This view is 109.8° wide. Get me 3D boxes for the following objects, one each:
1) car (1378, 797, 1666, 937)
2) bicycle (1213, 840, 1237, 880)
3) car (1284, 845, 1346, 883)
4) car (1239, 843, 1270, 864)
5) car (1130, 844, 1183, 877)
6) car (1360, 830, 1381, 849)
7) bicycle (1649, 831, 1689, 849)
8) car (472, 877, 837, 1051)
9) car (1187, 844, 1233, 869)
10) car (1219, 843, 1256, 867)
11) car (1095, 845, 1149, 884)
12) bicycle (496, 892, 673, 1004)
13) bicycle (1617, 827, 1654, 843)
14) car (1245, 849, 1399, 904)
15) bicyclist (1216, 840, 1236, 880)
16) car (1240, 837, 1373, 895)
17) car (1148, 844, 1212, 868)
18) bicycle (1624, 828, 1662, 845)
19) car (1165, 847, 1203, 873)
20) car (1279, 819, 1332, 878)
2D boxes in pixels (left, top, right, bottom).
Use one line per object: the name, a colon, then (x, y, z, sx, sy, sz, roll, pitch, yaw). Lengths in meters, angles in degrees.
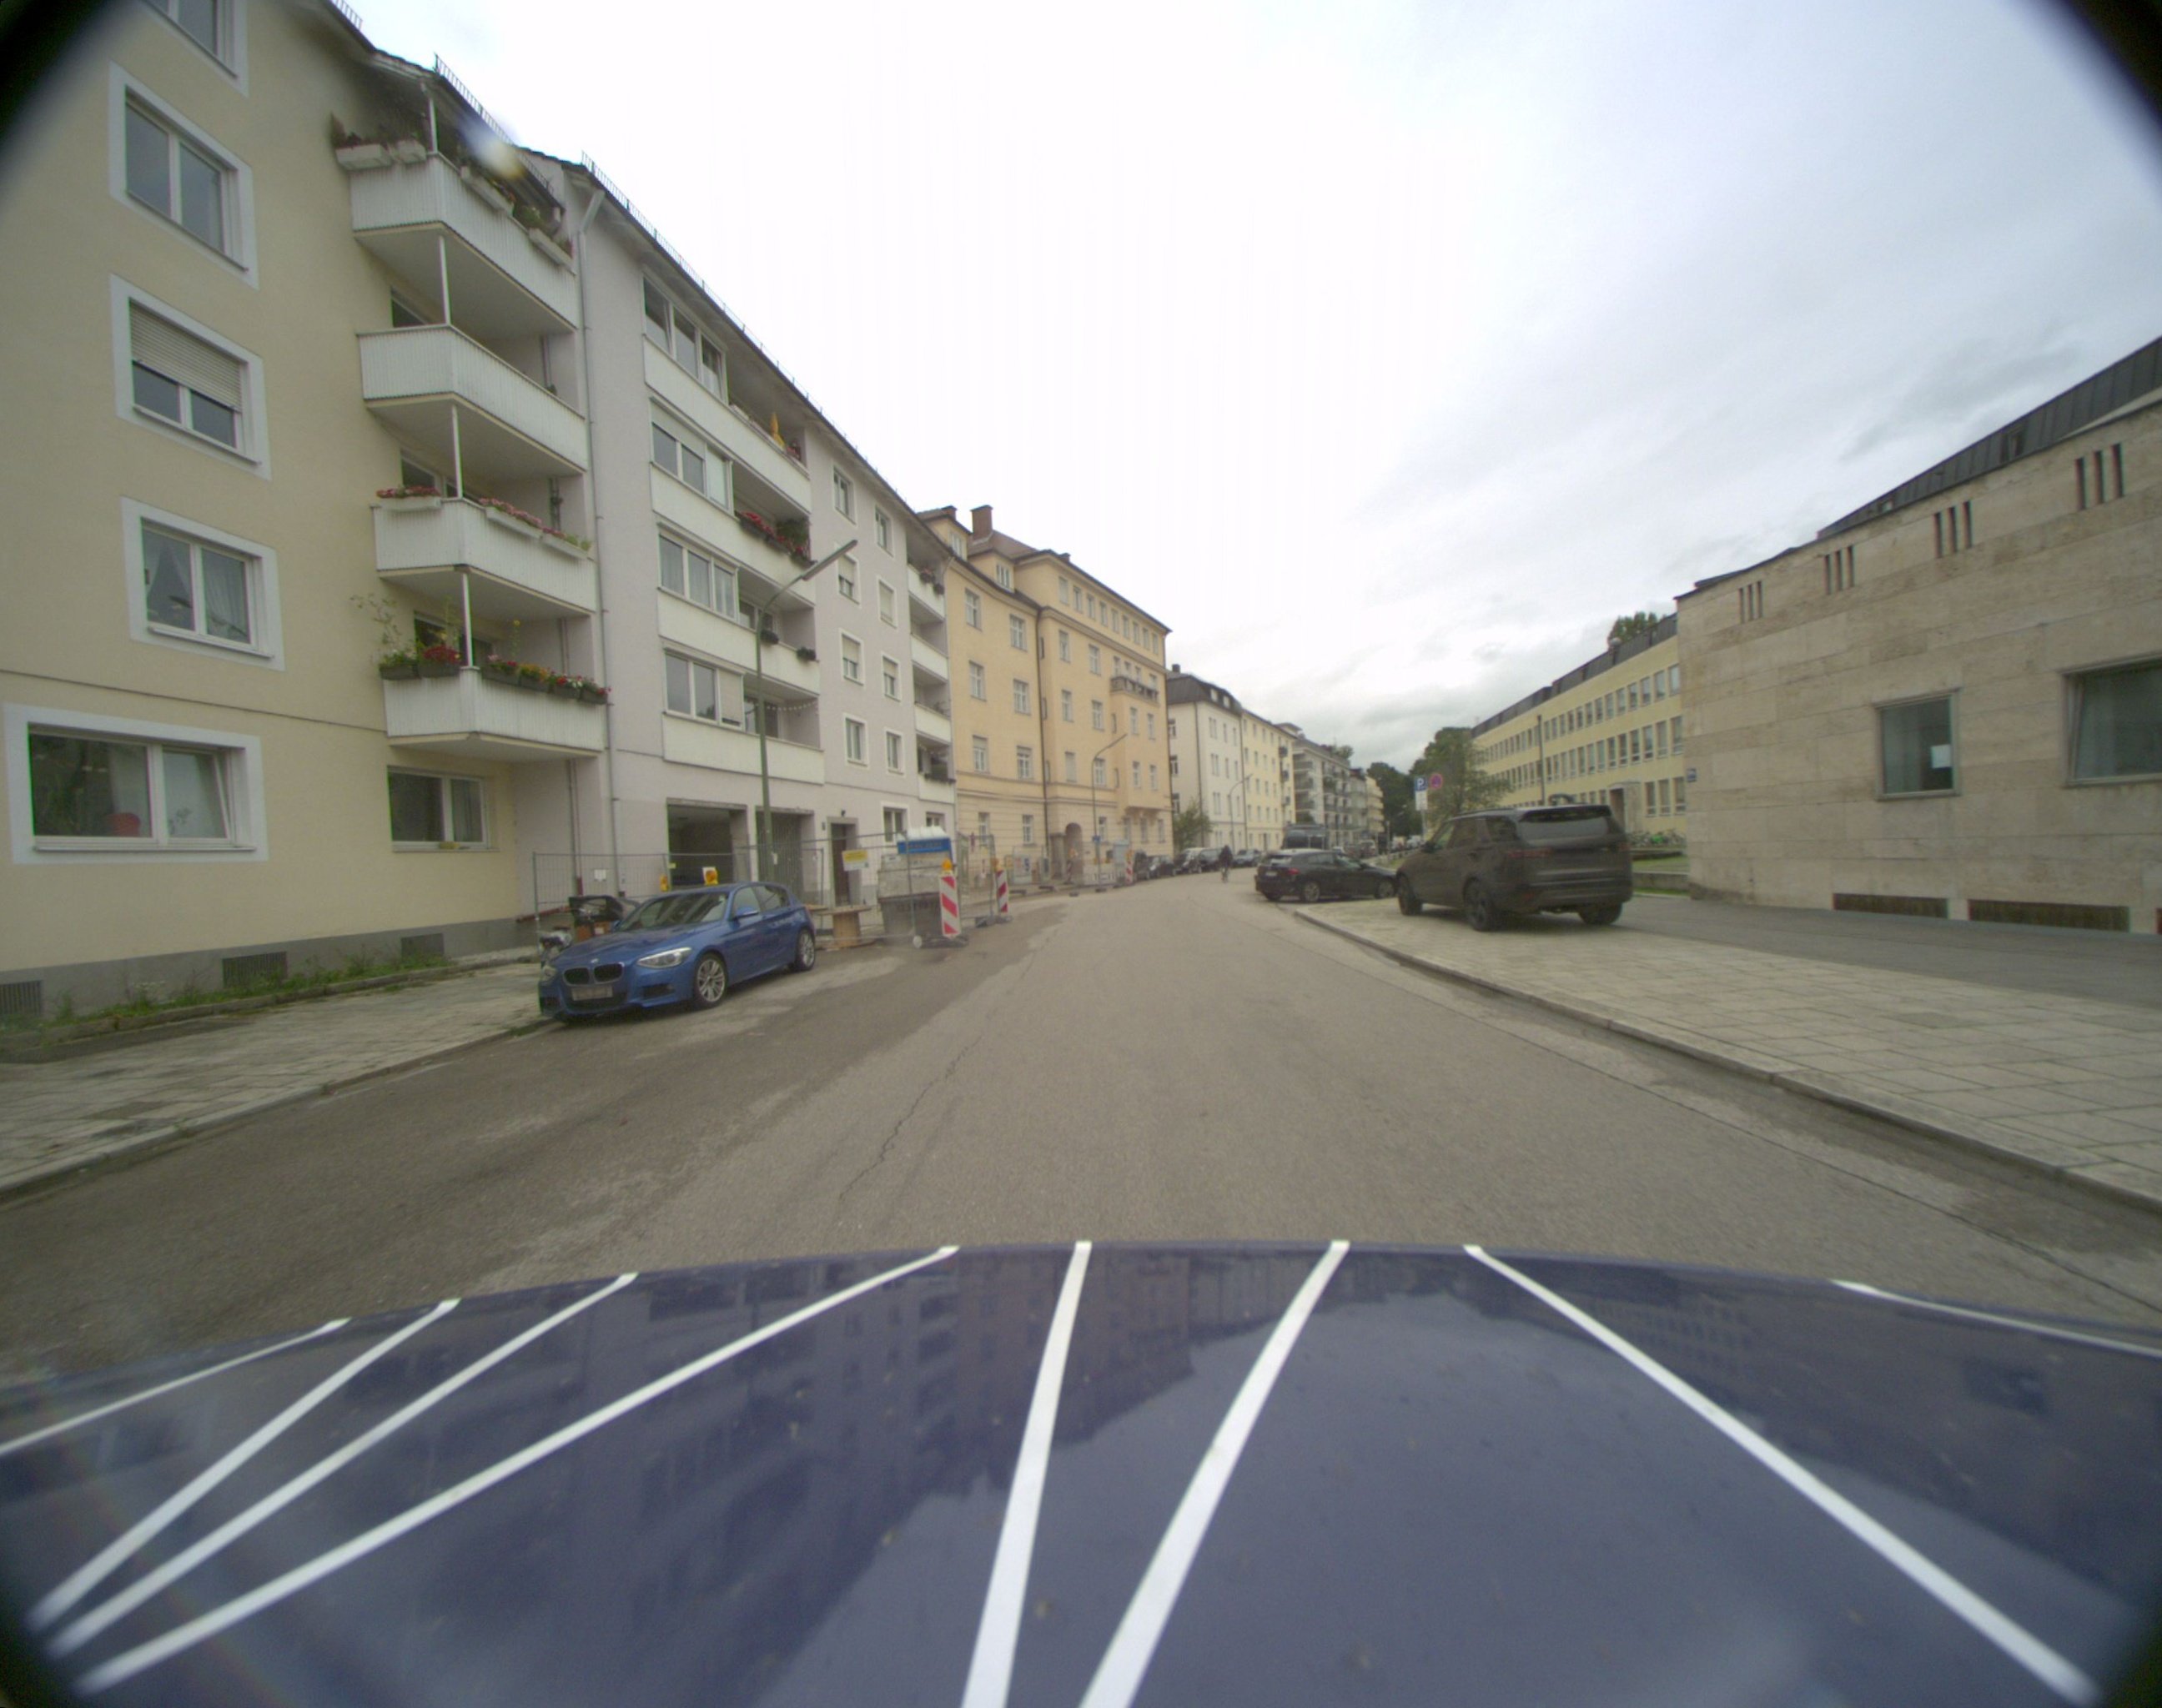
car: (6.866, 0.182, 12.611, 1.998, 1.761, 4.815, -3, 0, 1)
bicycle: (6.570, 0.271, 34.752, 0.796, 1.712, 3.117, -1, 0, 6)
car: (9.337, 0.349, 30.584, 1.830, 1.379, 4.144, 0, 1, 9)
car: (15.591, -0.042, 68.205, 1.779, 1.581, 3.707, -5, 0, 27)
car: (4.647, 0.400, 46.574, 1.838, 1.720, 3.736, -5, 0, 28)
car: (33.818, -1.711, 88.752, 1.946, 1.965, 4.361, -2, 1, 25)
bicycle: (35.808, -0.835, 46.271, 1.904, 0.911, 0.438, -5, 0, 12)
car: (-4.971, 1.163, 9.838, 1.835, 1.433, 4.629, -5, 0, 3)
car: (9.726, 0.166, 57.171, 1.929, 1.719, 4.695, -5, -2, 28)
car: (13.005, 0.037, 62.988, 1.779, 1.720, 4.396, -5, 0, 28)
car: (2.284, 0.522, 41.269, 1.839, 1.788, 4.243, -5, 0, 16)
bicycle: (-7.484, 1.349, 11.696, 0.812, 1.315, 2.775, -2, 1, 1)
bicycle: (36.467, -1.234, 49.989, 1.904, 0.911, 0.438, -5, 0, 12)
car: (6.867, 0.614, 21.622, 4.012, 1.365, 1.746, -2, -1, -25)
bicyclist: (6.492, 0.263, 34.098, 0.749, 1.707, 1.032, -3, 0, 6)
car: (7.494, 0.384, 25.256, 3.986, 1.521, 1.673, -5, 0, -22)
car: (8.195, 0.178, 62.760, 4.915, 1.762, 1.887, -2, 1, 18)
bicycle: (36.280, -1.104, 49.062, 1.904, 0.911, 0.438, -5, 0, 12)
car: (7.073, 0.377, 52.217, 1.509, 1.548, 2.867, -5, 0, 29)
car: (10.751, -0.271, 36.846, 2.147, 2.559, 6.217, -2, 1, 14)
